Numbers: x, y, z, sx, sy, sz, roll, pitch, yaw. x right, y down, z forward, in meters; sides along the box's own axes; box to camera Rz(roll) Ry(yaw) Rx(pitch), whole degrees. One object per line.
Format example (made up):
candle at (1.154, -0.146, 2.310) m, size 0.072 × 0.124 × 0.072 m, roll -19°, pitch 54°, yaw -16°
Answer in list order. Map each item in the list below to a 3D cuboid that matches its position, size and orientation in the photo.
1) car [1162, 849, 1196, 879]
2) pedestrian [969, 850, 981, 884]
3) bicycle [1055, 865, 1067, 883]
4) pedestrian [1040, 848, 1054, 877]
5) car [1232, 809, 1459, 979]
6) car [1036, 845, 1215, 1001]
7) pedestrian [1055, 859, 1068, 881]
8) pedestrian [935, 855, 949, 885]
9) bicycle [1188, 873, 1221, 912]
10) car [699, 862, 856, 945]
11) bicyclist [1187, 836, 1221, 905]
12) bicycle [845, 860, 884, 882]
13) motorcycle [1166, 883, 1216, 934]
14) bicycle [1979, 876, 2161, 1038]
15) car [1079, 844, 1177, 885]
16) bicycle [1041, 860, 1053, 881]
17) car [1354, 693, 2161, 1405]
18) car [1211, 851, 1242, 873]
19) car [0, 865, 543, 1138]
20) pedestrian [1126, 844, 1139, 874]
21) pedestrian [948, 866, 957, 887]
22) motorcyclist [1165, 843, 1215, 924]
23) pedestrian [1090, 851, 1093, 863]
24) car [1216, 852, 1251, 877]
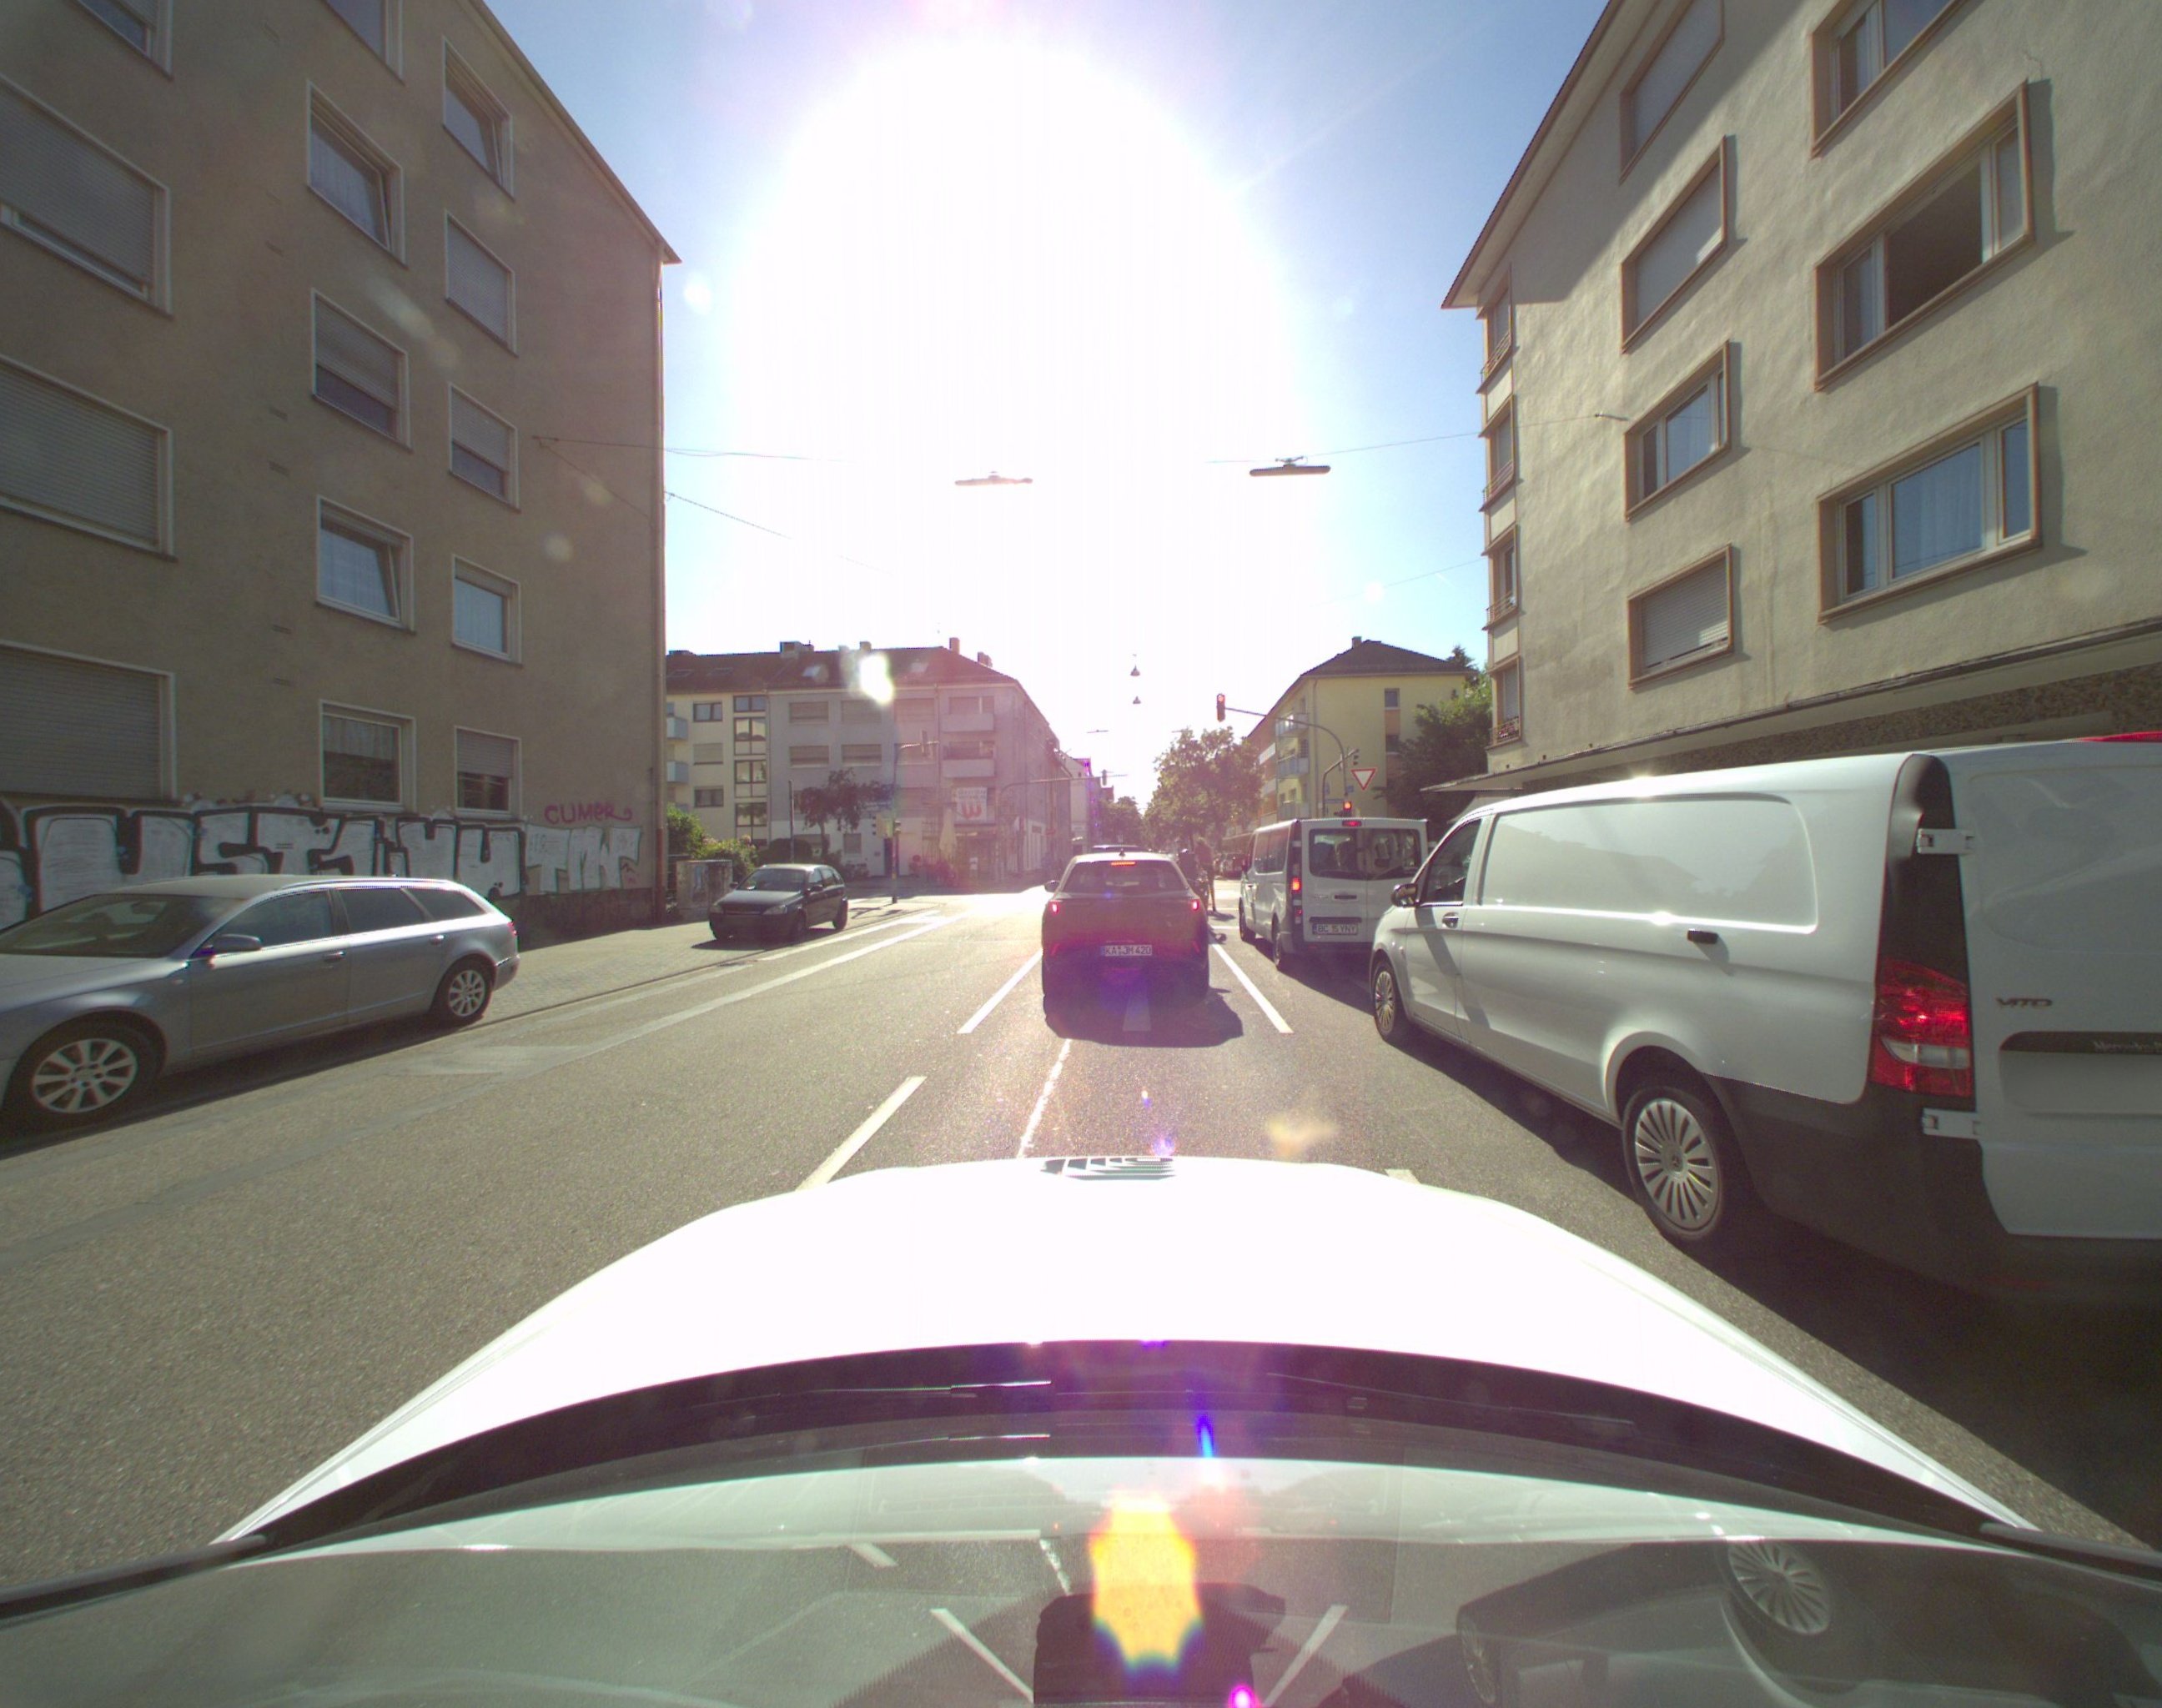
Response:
car at (5.962, 0.569, 49.806) m, size 1.893 × 1.728 × 4.005 m, roll -1°, pitch 0°, yaw 5°
pedestrian at (-5.513, 0.672, 42.319) m, size 0.560 × 1.775 × 0.583 m, roll -1°, pitch 0°, yaw -5°
bicycle at (-1.156, 1.166, 47.855) m, size 0.519 × 0.992 × 2.340 m, roll -1°, pitch 0°, yaw 2°
pedestrian at (-1.973, 0.511, 47.706) m, size 0.704 × 1.678 × 0.803 m, roll -1°, pitch 0°, yaw 2°
car at (3.560, 0.466, 12.040) m, size 1.985 × 1.979 × 4.899 m, roll 1°, pitch 0°, yaw 3°
car at (0.525, 0.686, 10.113) m, size 1.763 × 1.530 × 4.002 m, roll -1°, pitch 0°, yaw 2°
pedestrian at (-1.134, 0.915, 47.659) m, size 0.704 × 1.253 × 0.803 m, roll -1°, pitch 0°, yaw 2°
pedestrian at (-7.135, 0.800, 41.736) m, size 0.582 × 1.521 × 0.650 m, roll -1°, pitch 0°, yaw 1°
bicycle at (3.195, 0.975, 21.206) m, size 0.575 × 0.904 × 2.302 m, roll -1°, pitch 0°, yaw 2°
car at (-6.033, 0.914, 16.672) m, size 1.609 × 1.425 × 3.714 m, roll 1°, pitch 0°, yaw 4°
bicyclist at (3.166, 0.407, 21.054) m, size 0.686 × 1.712 × 1.415 m, roll -1°, pitch 0°, yaw 2°
bicycle at (-12.641, 0.979, 47.591) m, size 2.101 × 1.172 × 0.736 m, roll -1°, pitch 0°, yaw -20°
motorcycle at (2.101, 1.026, 15.755) m, size 0.822 × 0.845 × 1.886 m, roll -1°, pitch 0°, yaw 3°
bicycle at (8.261, 0.779, 6.584) m, size 0.398 × 1.136 × 1.733 m, roll -1°, pitch 0°, yaw 12°
car at (2.154, 0.436, 37.217) m, size 4.086 × 1.728 × 1.889 m, roll -1°, pitch 0°, yaw -31°
bicycle at (-1.985, 0.948, 47.970) m, size 0.519 × 1.147 × 2.285 m, roll -1°, pitch 0°, yaw 2°
car at (3.195, 0.508, 4.628) m, size 1.829 × 1.869 × 5.000 m, roll 0°, pitch 0°, yaw 3°
car at (9.863, 0.516, 55.251) m, size 1.627 × 1.433 × 4.004 m, roll -1°, pitch 0°, yaw 4°
car at (-6.851, 0.901, 6.430) m, size 1.710 × 1.465 × 4.820 m, roll -3°, pitch 0°, yaw 4°
pedestrian at (2.974, 0.295, 47.300) m, size 0.704 × 1.701 × 0.803 m, roll -1°, pitch 0°, yaw 2°
pedestrian at (-6.600, 1.147, 41.760) m, size 0.354 × 1.092 × 0.462 m, roll -1°, pitch 0°, yaw 1°
motorcyclist at (2.100, 0.553, 15.824) m, size 0.860 × 1.502 × 1.160 m, roll -1°, pitch 0°, yaw 3°
pedestrian at (1.539, 0.437, 118.980) m, size 0.400 × 1.675 × 0.418 m, roll -1°, pitch 0°, yaw 4°
car at (9.416, 0.607, 50.510) m, size 1.627 × 1.433 × 3.961 m, roll -1°, pitch 0°, yaw 4°
